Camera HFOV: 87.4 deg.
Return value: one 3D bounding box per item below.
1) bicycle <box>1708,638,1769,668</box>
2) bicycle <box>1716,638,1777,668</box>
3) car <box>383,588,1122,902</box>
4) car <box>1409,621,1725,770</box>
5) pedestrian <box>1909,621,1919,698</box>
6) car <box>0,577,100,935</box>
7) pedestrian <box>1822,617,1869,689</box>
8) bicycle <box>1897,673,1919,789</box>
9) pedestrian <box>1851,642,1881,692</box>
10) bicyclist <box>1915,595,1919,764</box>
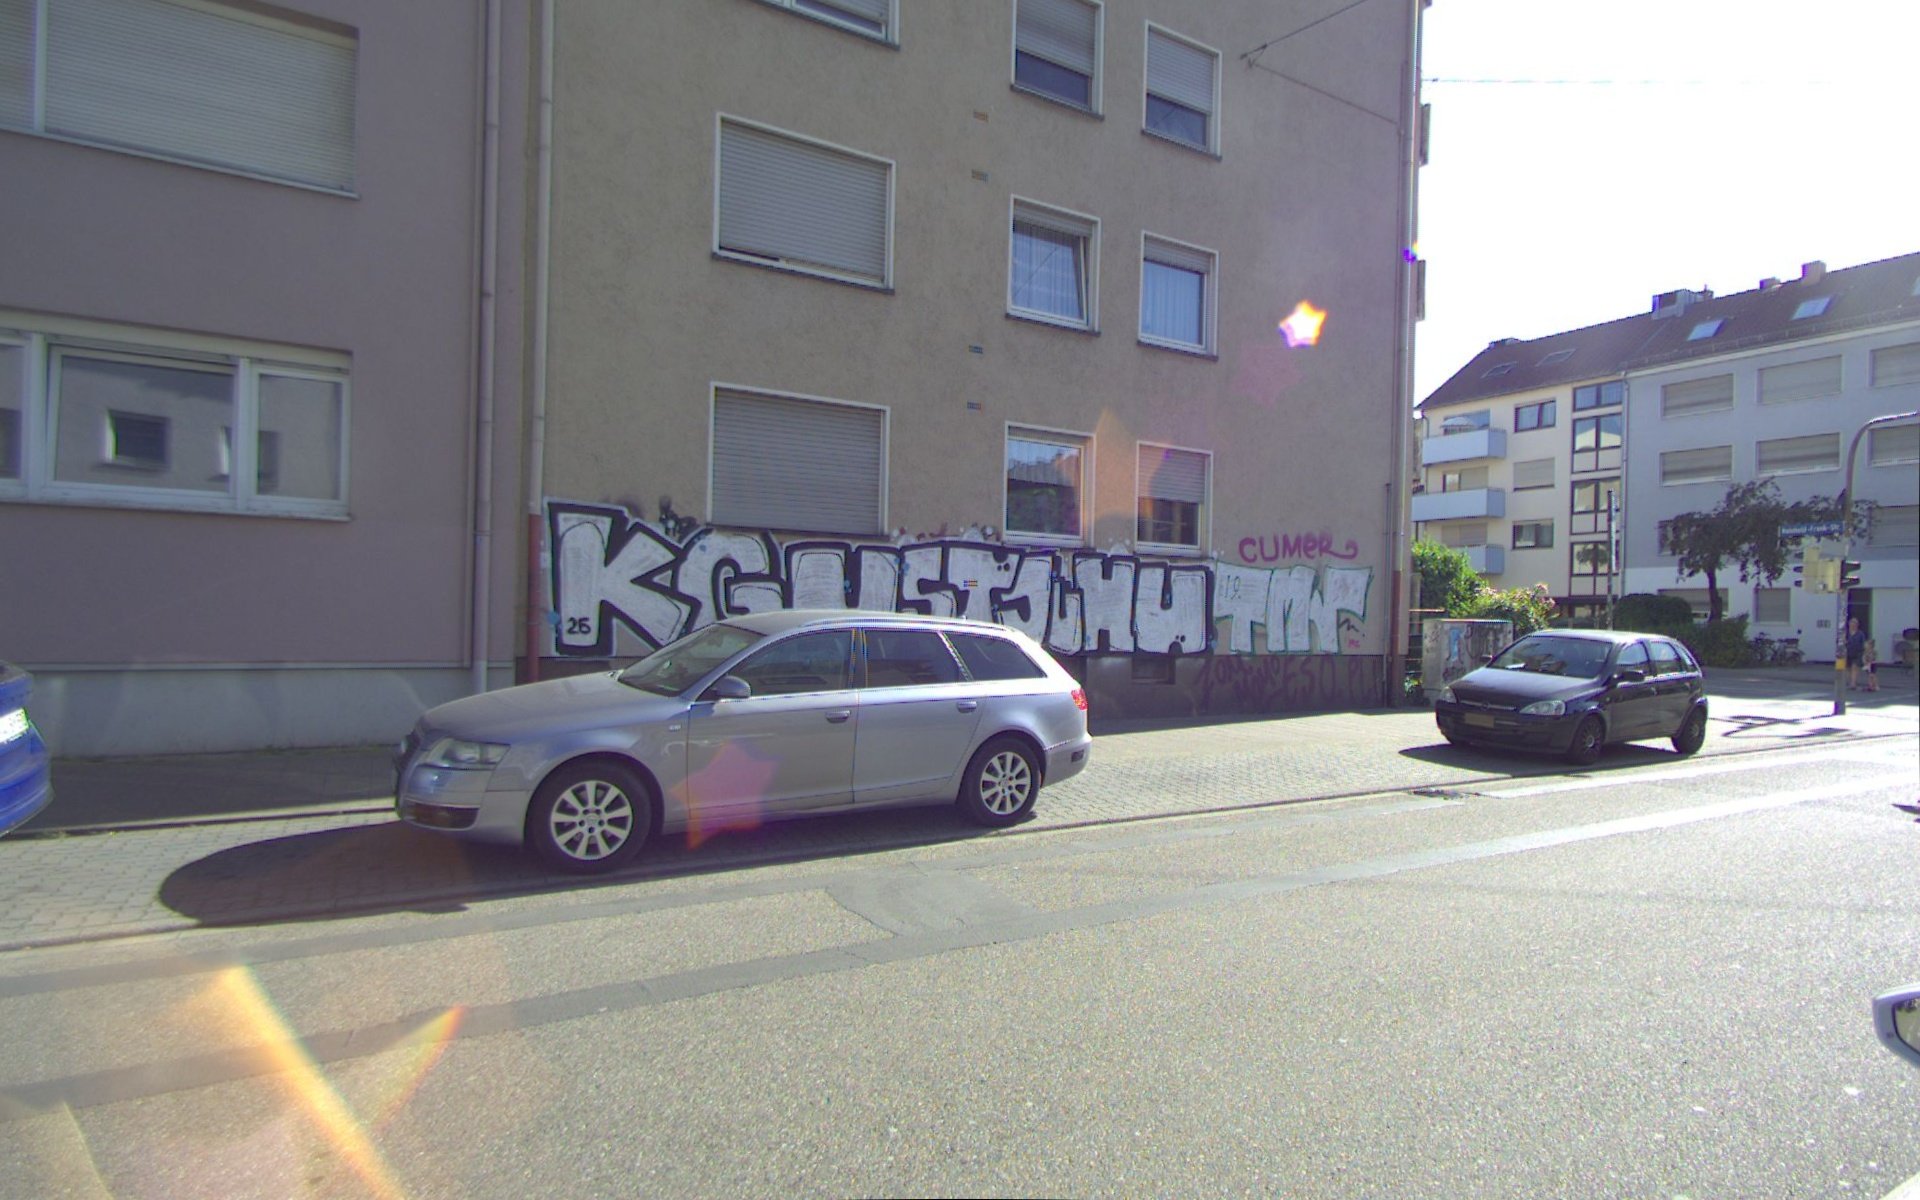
[{"bbox_3d":[26.445,1.787,34.153,0.506,0.952,1.583,1,-1,-27],"label":"bicycle"},{"bbox_3d":[27.020,1.807,34.537,0.506,0.952,1.583,1,-1,-27],"label":"bicycle"},{"bbox_3d":[-1.290,0.771,7.062,4.748,1.523,1.813,1,2,-32],"label":"car"},{"bbox_3d":[7.393,1.049,12.161,3.813,1.468,1.682,1,2,-32],"label":"car"},{"bbox_3d":[21.888,1.342,22.591,0.660,1.711,0.571,1,0,-23],"label":"pedestrian"},{"bbox_3d":[-6.656,0.625,3.917,4.748,1.523,1.813,1,2,-32],"label":"car"},{"bbox_3d":[21.500,1.268,24.384,0.957,1.705,0.570,1,0,-30],"label":"pedestrian"},{"bbox_3d":[9.937,1.265,9.764,1.850,1.078,0.713,2,-1,-30],"label":"bicycle"},{"bbox_3d":[21.416,1.581,23.739,0.526,1.161,0.383,1,0,-31],"label":"pedestrian"},{"bbox_3d":[9.909,0.784,9.738,0.935,1.641,0.713,2,-1,-30],"label":"bicyclist"}]
